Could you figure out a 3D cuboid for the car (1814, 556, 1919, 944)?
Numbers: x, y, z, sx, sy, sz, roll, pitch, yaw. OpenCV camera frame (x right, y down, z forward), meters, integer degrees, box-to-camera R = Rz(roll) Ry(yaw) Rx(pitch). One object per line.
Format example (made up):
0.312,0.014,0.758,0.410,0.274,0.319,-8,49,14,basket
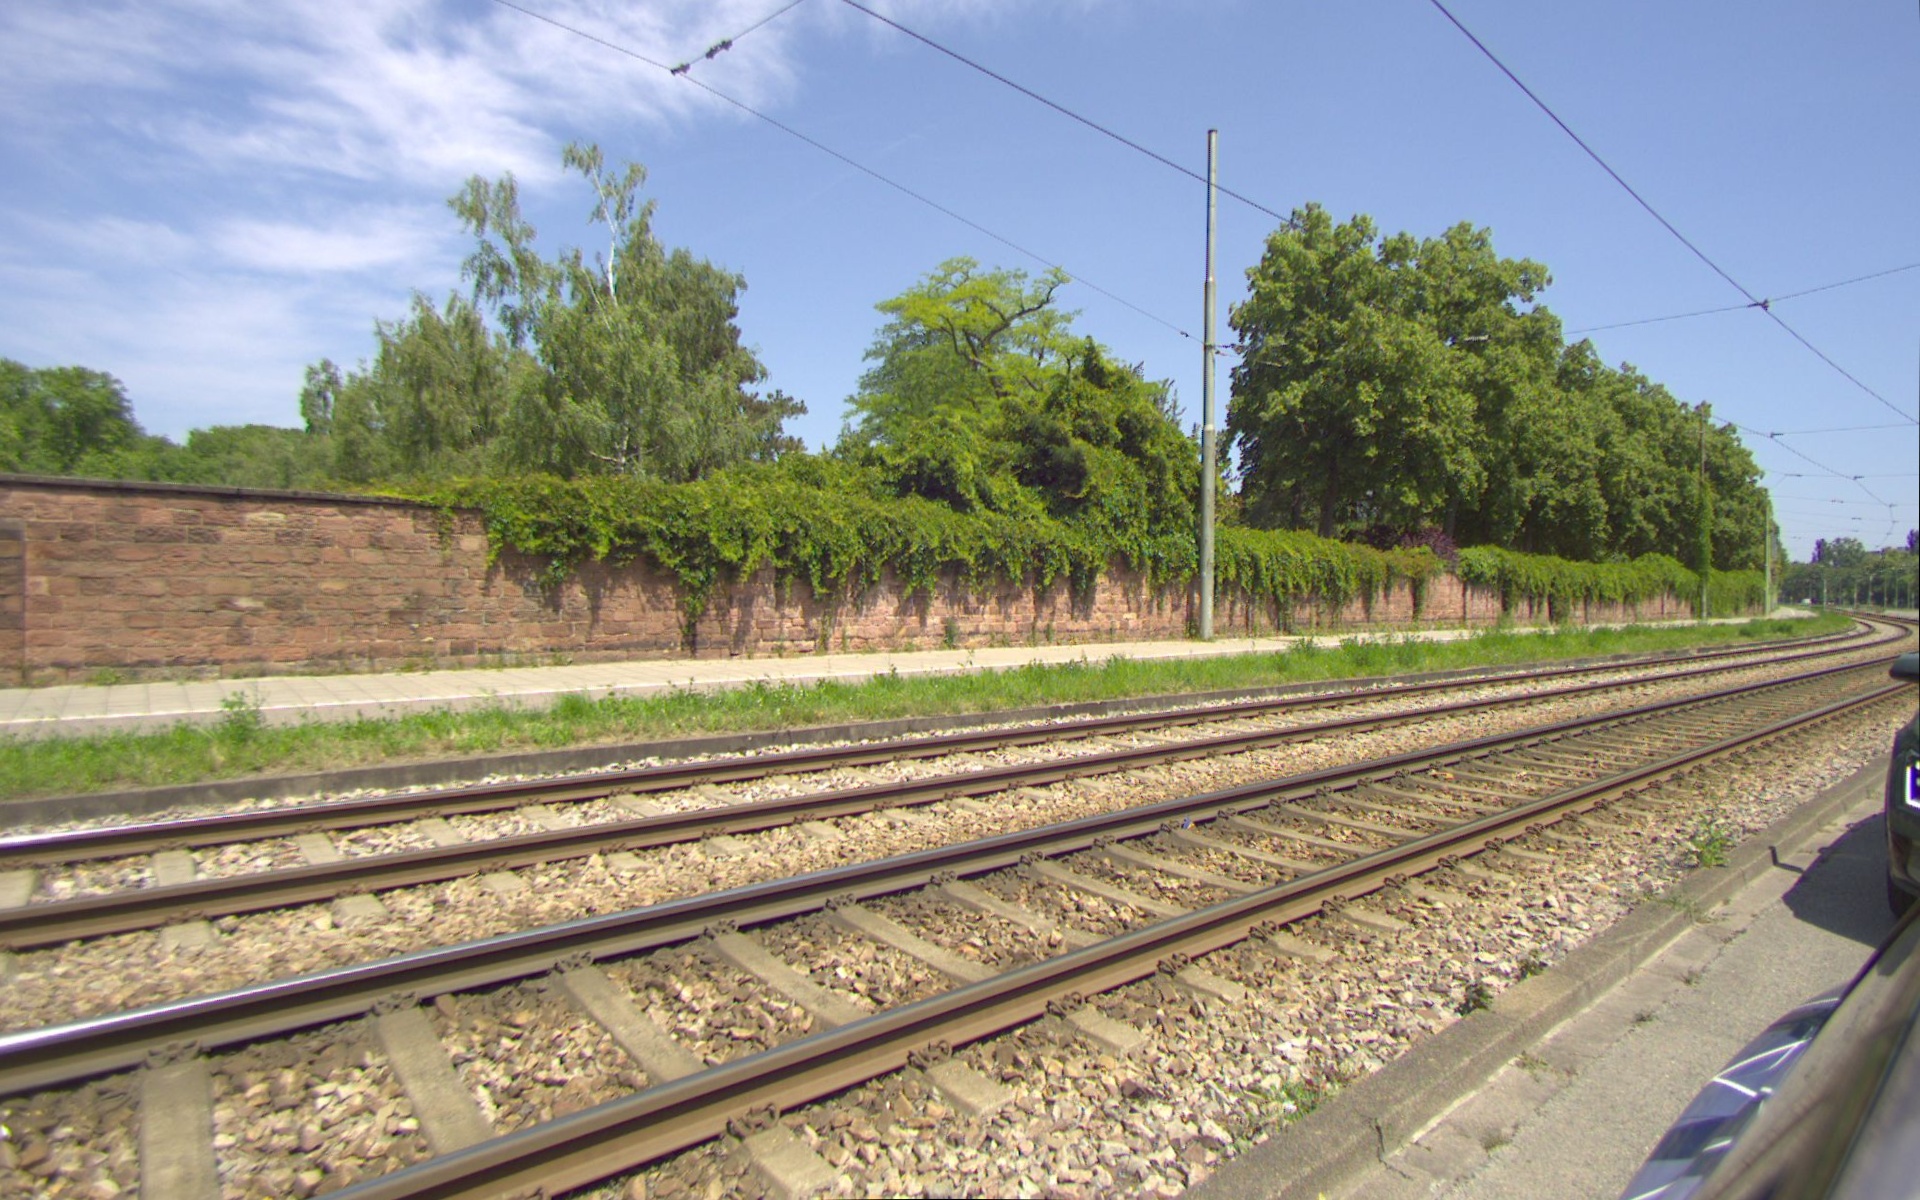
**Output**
5.846,0.596,4.744,3.927,1.563,2.062,0,-1,-38,car
